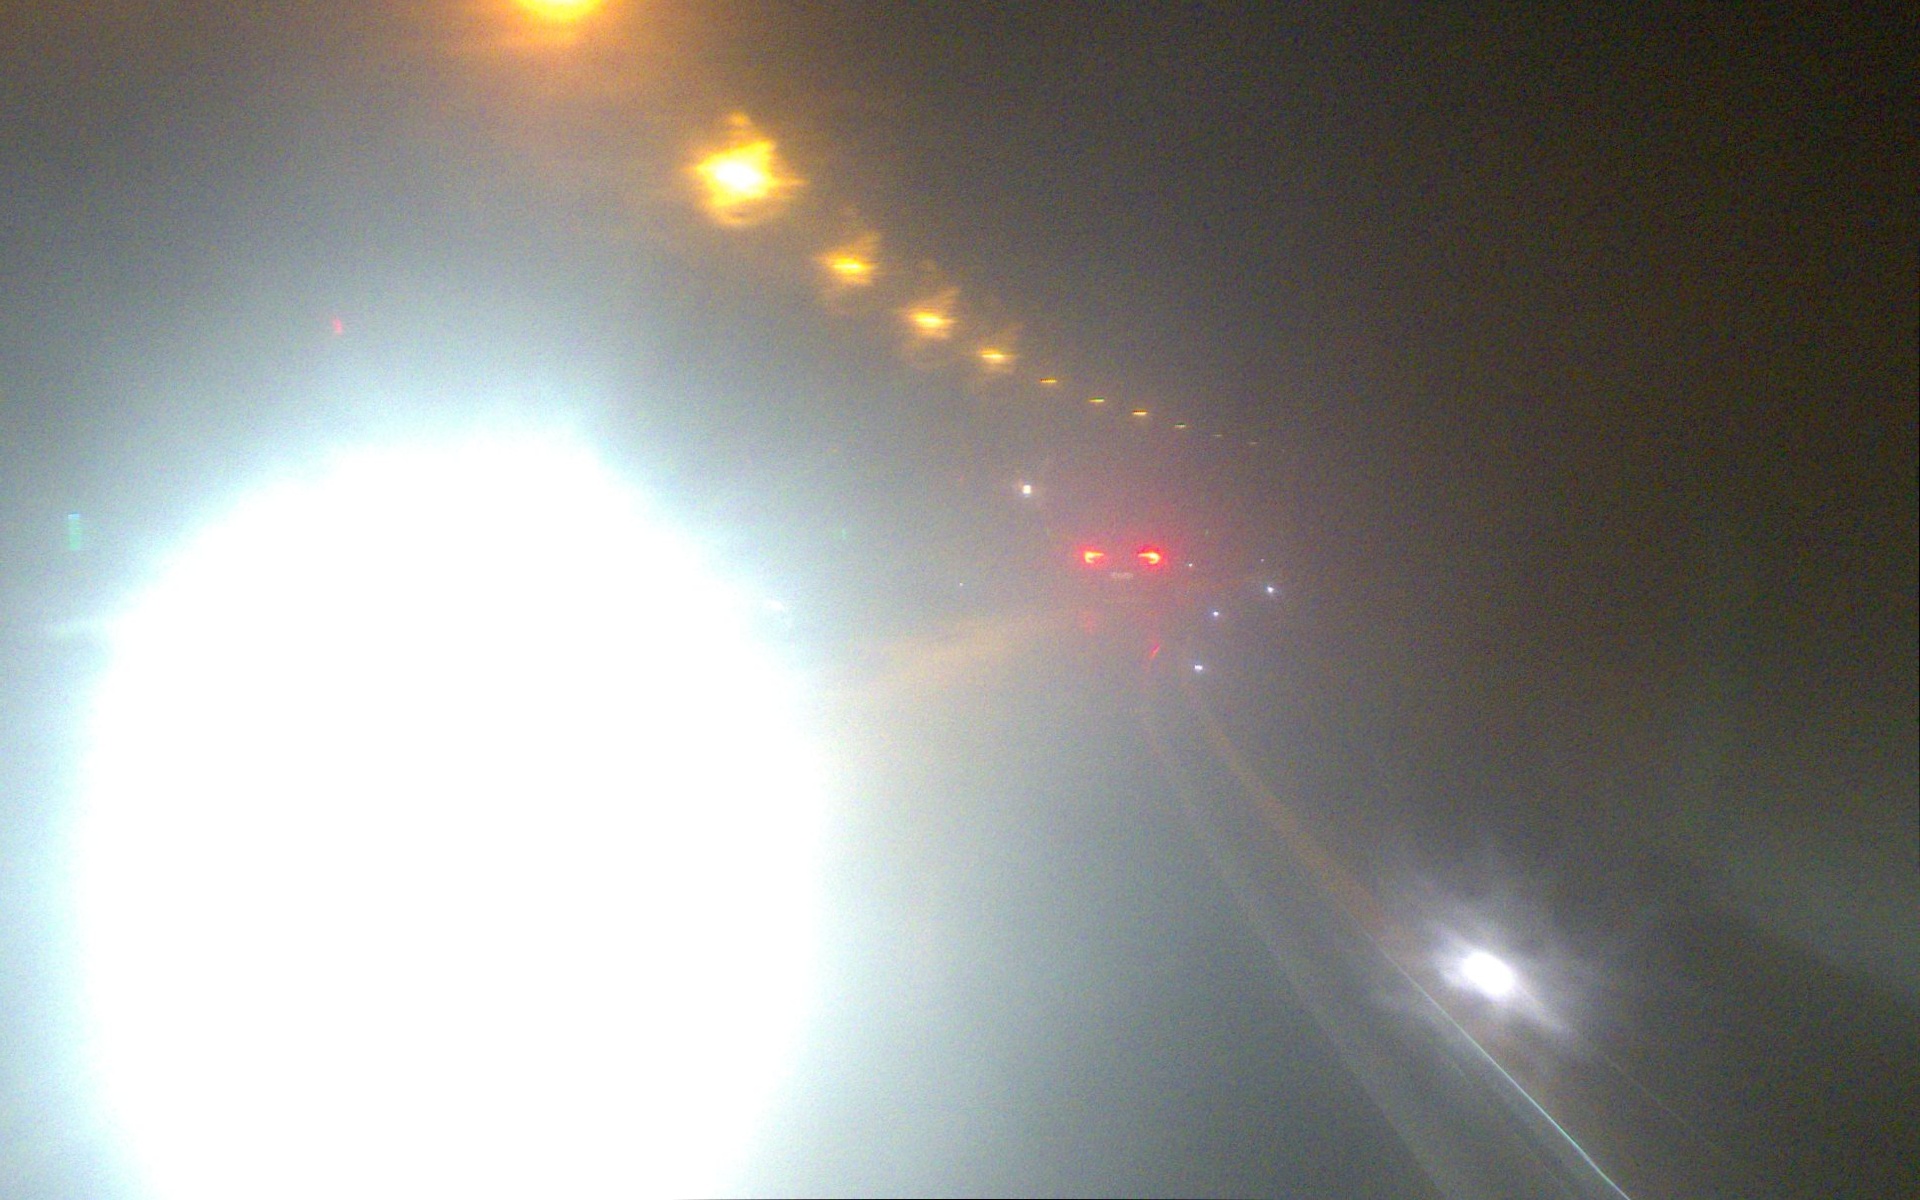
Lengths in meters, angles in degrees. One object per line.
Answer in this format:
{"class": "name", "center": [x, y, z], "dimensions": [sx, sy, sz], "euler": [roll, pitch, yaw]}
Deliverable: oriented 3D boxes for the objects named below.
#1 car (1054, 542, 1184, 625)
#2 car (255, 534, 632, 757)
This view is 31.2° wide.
{"class": "car", "center": [3.446, -0.345, 73.774], "dimensions": [2.091, 1.656, 3.998], "euler": [2, 0, 12]}
{"class": "car", "center": [-3.538, 0.248, 24.385], "dimensions": [1.834, 1.379, 4.646], "euler": [2, 1, 1]}
